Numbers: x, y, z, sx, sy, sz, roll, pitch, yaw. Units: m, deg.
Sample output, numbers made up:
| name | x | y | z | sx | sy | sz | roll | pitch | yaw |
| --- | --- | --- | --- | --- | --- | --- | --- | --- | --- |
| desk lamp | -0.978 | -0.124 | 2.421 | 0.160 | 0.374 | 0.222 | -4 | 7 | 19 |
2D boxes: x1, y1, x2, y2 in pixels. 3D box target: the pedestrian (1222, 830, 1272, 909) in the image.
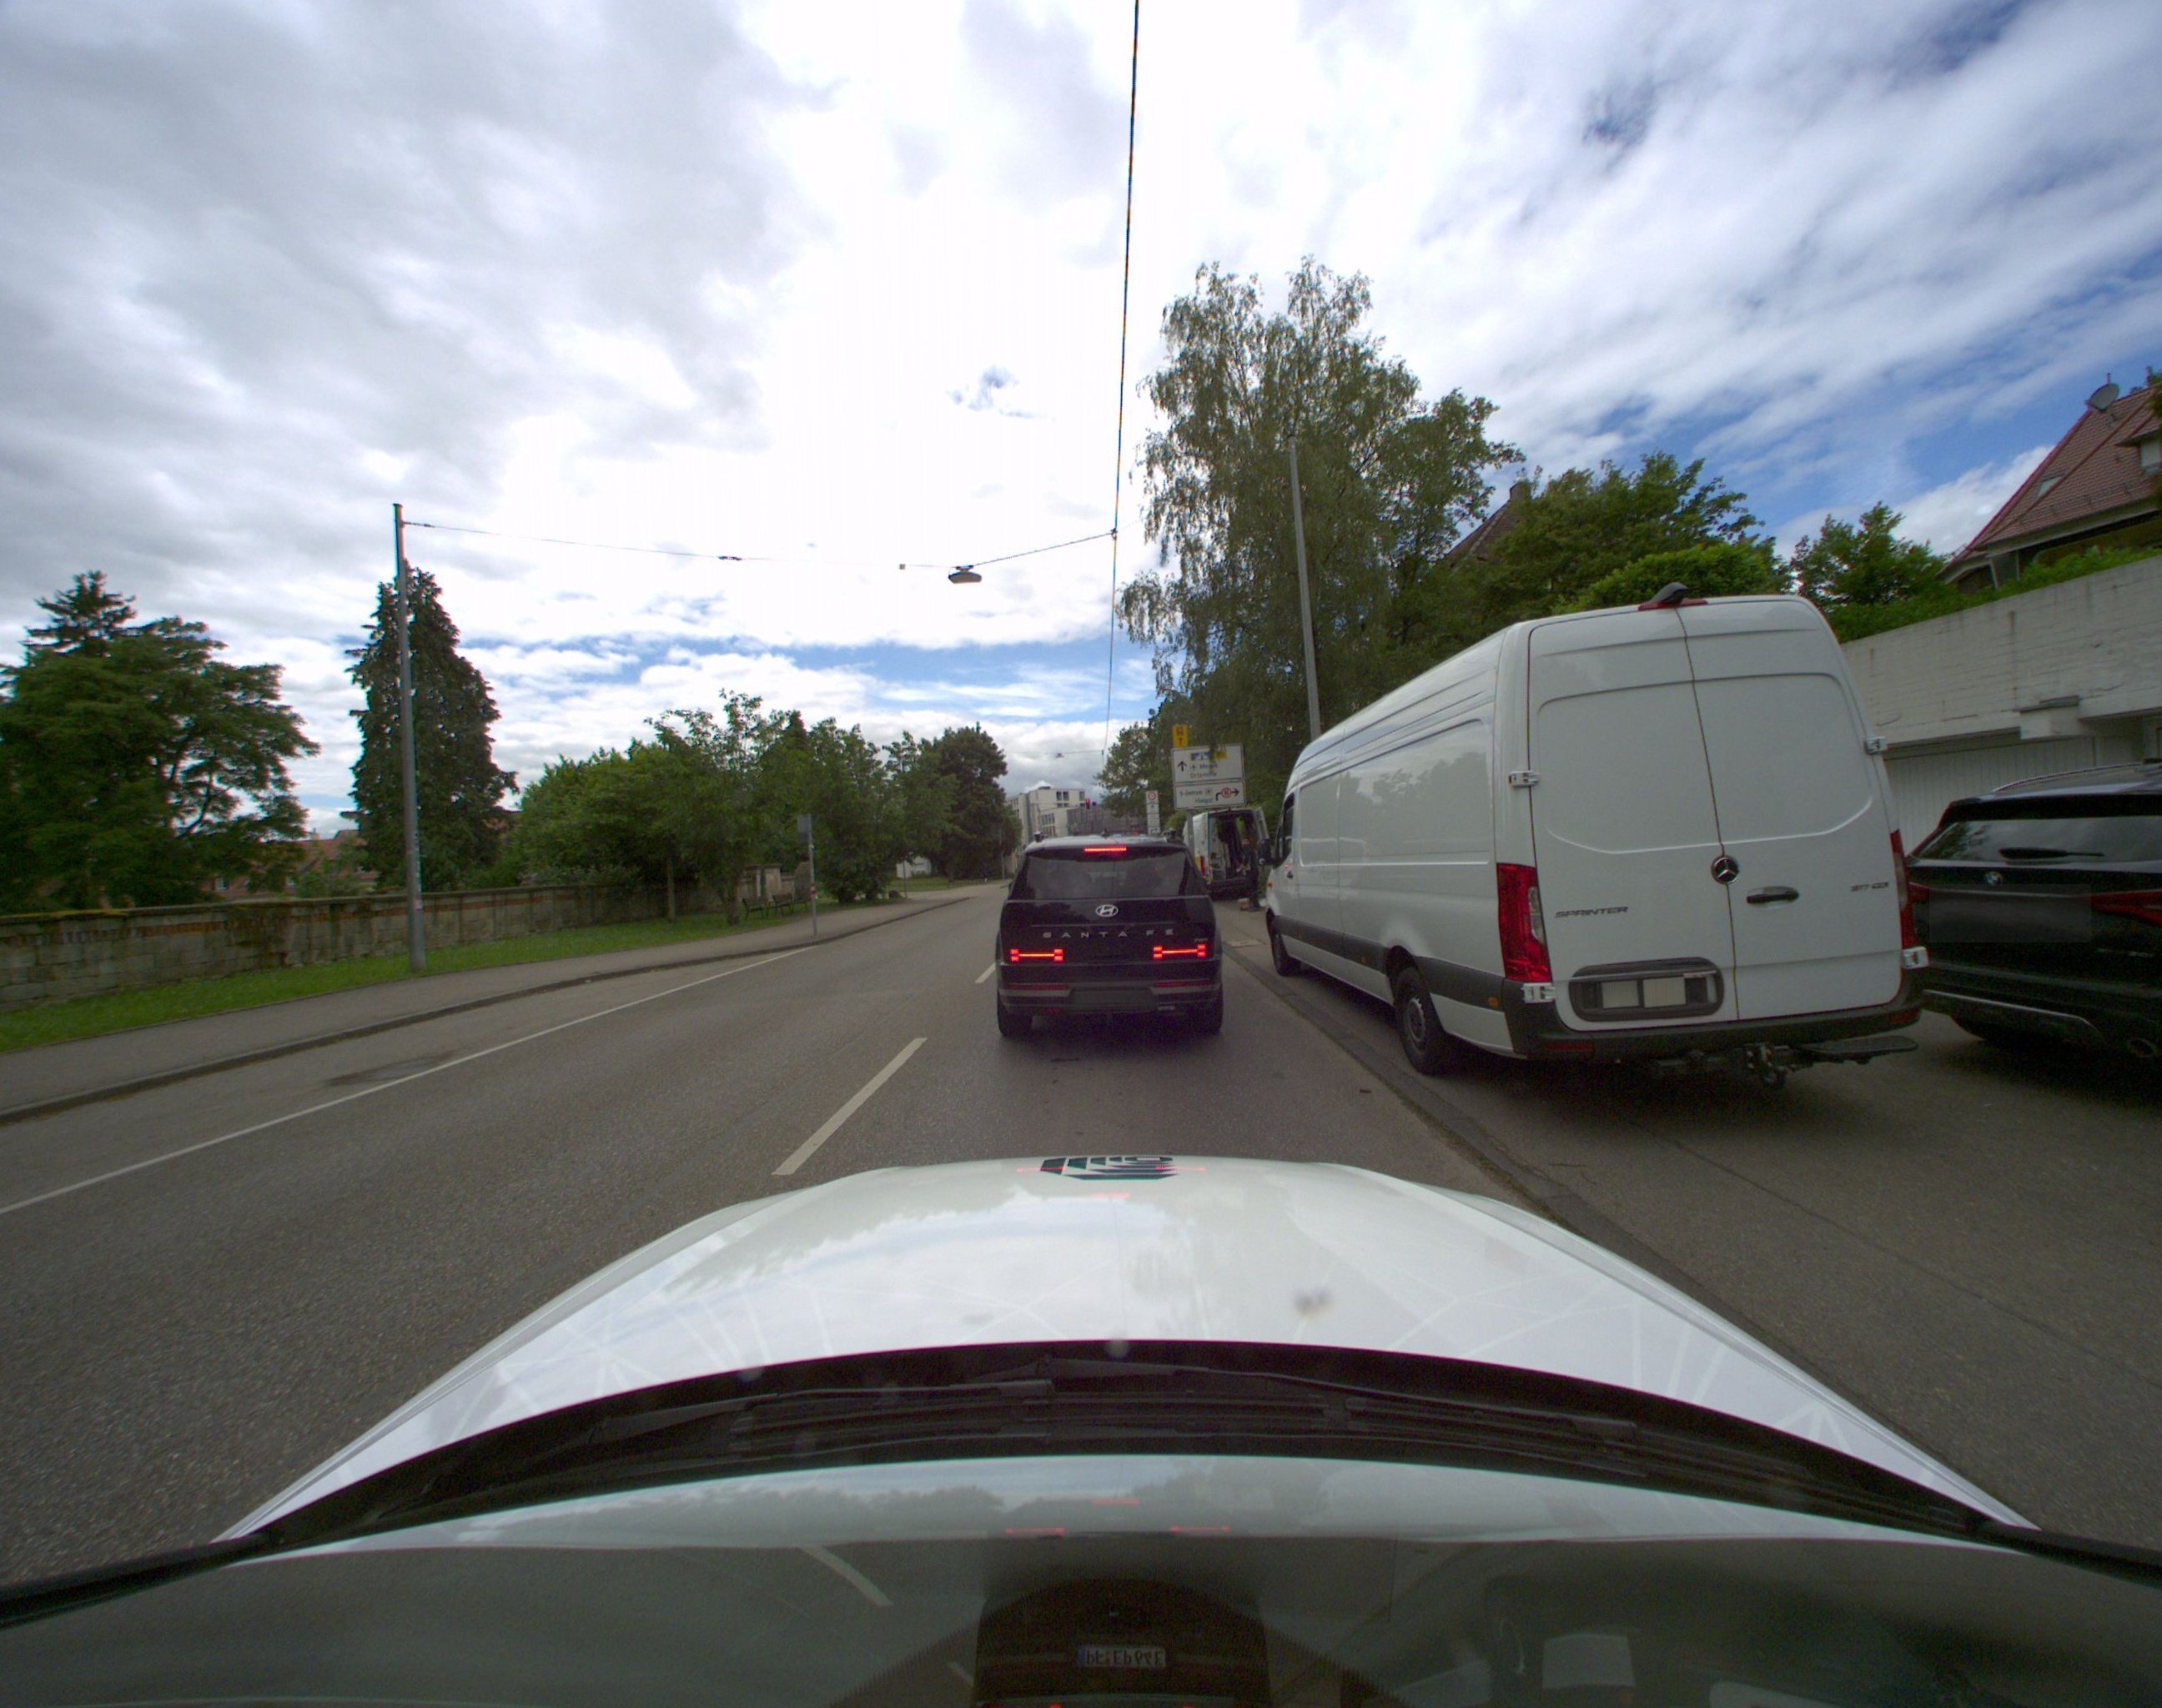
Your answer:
| name | x | y | z | sx | sy | sz | roll | pitch | yaw |
| --- | --- | --- | --- | --- | --- | --- | --- | --- | --- |
| pedestrian | 3.927 | 0.369 | 19.207 | 0.861 | 1.797 | 0.764 | -3 | -1 | 30 |

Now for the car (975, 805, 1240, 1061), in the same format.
| name | x | y | z | sx | sy | sz | roll | pitch | yaw |
| --- | --- | --- | --- | --- | --- | --- | --- | --- | --- |
| car | 0.252 | 0.580 | 7.938 | 1.883 | 1.819 | 4.001 | -2 | 0 | 2 |

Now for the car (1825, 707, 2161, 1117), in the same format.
| name | x | y | z | sx | sy | sz | roll | pitch | yaw |
| --- | --- | --- | --- | --- | --- | --- | --- | --- | --- |
| car | 6.836 | 0.137 | 4.111 | 4.398 | 1.750 | 1.739 | -3 | 0 | 3 |

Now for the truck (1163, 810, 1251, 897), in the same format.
| name | x | y | z | sx | sy | sz | roll | pitch | yaw |
| --- | --- | --- | --- | --- | --- | --- | --- | --- | --- |
| truck | 4.213 | 0.018 | 28.190 | 1.937 | 2.561 | 5.213 | -5 | -1 | -1 |

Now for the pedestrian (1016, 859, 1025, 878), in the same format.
| name | x | y | z | sx | sy | sz | roll | pitch | yaw |
| --- | --- | --- | --- | --- | --- | --- | --- | --- | --- |
| pedestrian | -5.775 | 1.394 | 77.589 | 0.737 | 1.715 | 0.791 | -3 | 0 | -5 |

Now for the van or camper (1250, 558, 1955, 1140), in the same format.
| name | x | y | z | sx | sy | sz | roll | pitch | yaw |
| --- | --- | --- | --- | --- | --- | --- | --- | --- | --- |
| van or camper | 3.107 | -0.016 | 7.081 | 1.986 | 2.620 | 6.543 | -3 | 0 | 2 |

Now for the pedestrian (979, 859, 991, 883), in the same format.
| name | x | y | z | sx | sy | sz | roll | pitch | yaw |
| --- | --- | --- | --- | --- | --- | --- | --- | --- | --- |
| pedestrian | -6.947 | 1.208 | 59.042 | 0.737 | 1.715 | 0.791 | -3 | 0 | -5 |

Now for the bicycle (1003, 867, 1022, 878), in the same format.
| name | x | y | z | sx | sy | sz | roll | pitch | yaw |
| --- | --- | --- | --- | --- | --- | --- | --- | --- | --- |
| bicycle | -6.607 | 1.781 | 78.393 | 1.753 | 1.093 | 0.703 | -1 | -1 | 33 |

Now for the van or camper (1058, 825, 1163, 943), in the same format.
| name | x | y | z | sx | sy | sz | roll | pitch | yaw |
| --- | --- | --- | --- | --- | --- | --- | --- | --- | --- |
| van or camper | 0.587 | 0.535 | 16.493 | 1.748 | 2.013 | 4.002 | -3 | 0 | 2 |

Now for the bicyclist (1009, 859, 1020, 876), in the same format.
| name | x | y | z | sx | sy | sz | roll | pitch | yaw |
| --- | --- | --- | --- | --- | --- | --- | --- | --- | --- |
| bicyclist | -6.393 | 1.289 | 78.262 | 0.820 | 1.691 | 0.723 | -1 | -1 | 36 |
